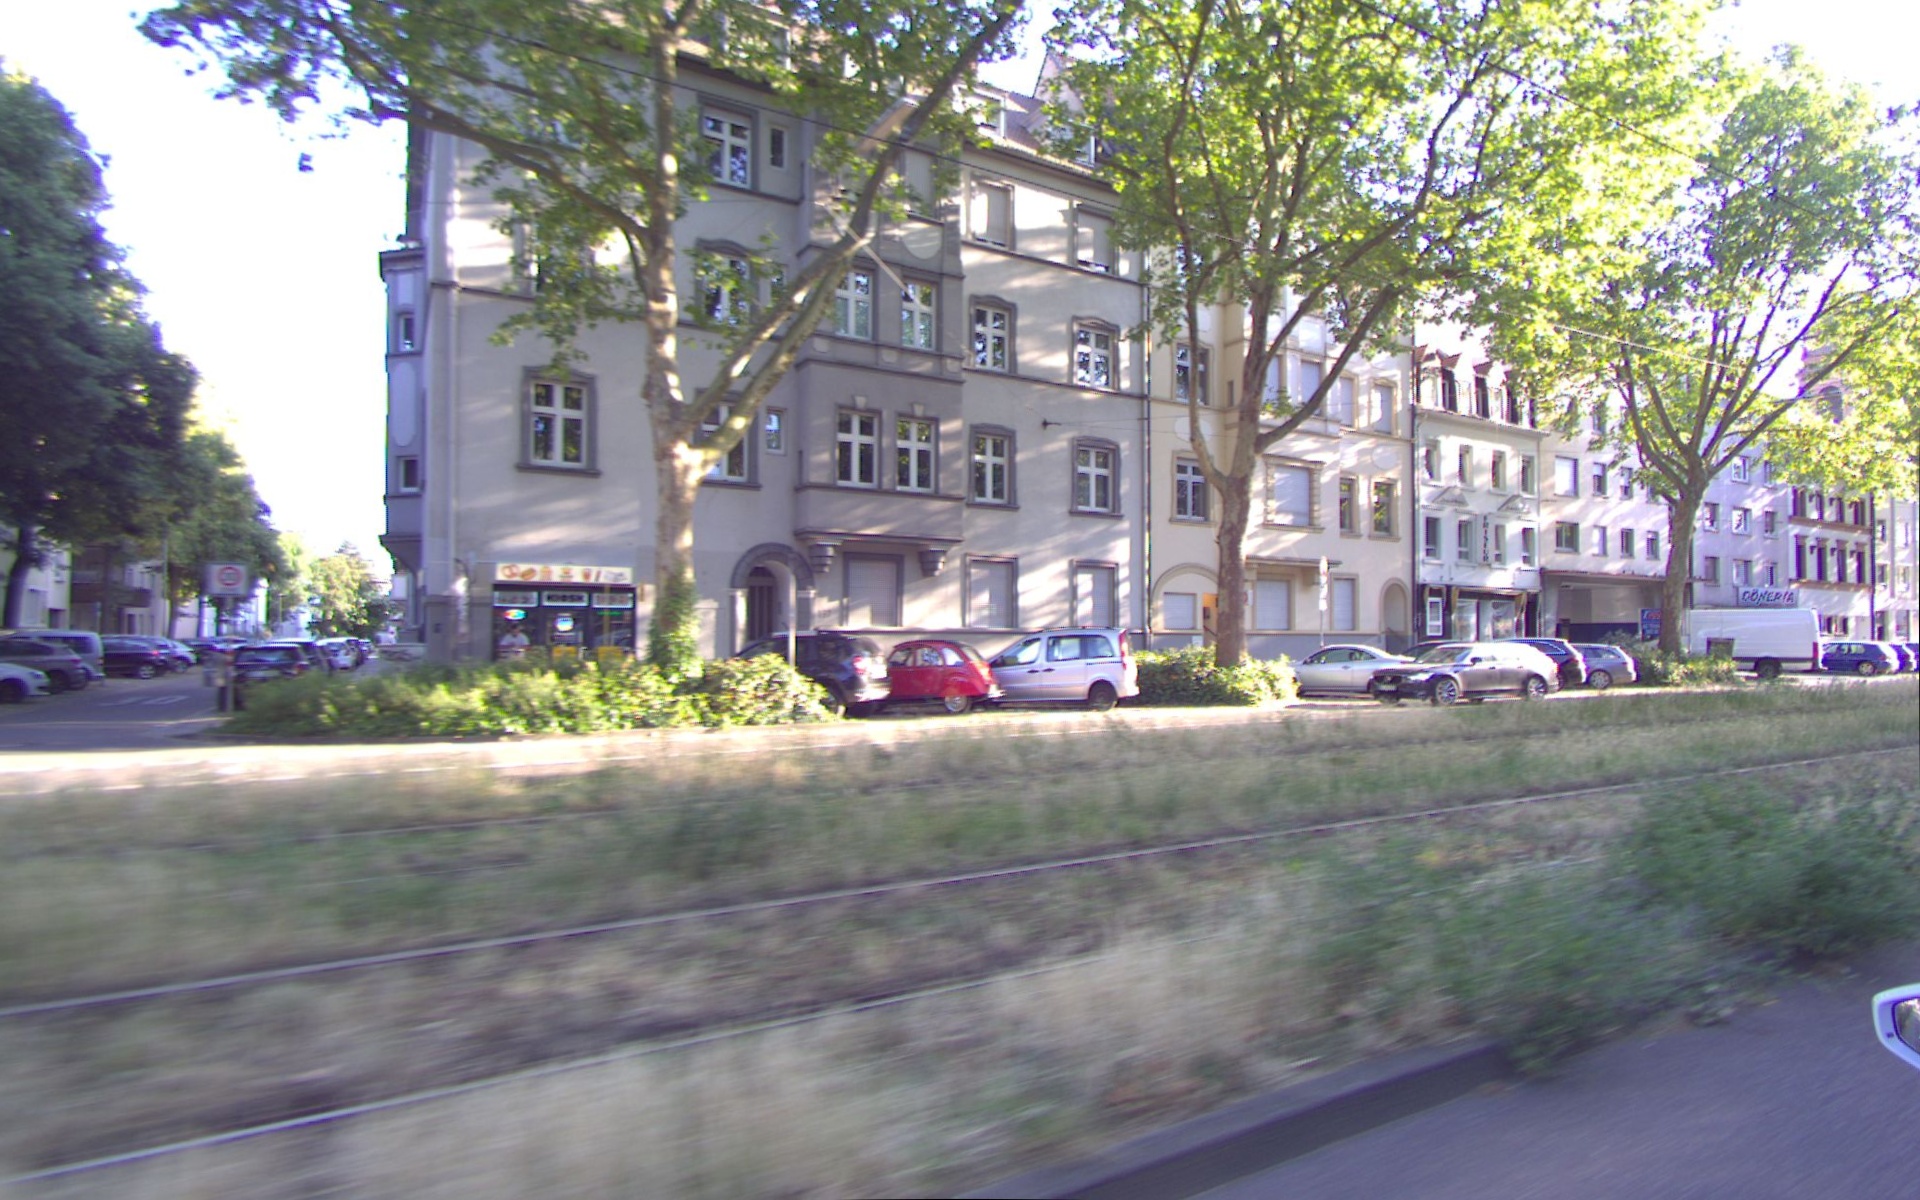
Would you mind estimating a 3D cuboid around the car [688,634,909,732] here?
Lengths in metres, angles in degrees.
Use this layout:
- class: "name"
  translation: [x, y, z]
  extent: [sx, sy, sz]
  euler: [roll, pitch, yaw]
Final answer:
- class: "car"
  translation: [-3.174, 1.571, 19.822]
  extent: [3.922, 1.746, 1.785]
  euler: [0, -3, 21]

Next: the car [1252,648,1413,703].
- class: "car"
  translation: [10.095, 2.006, 27.301]
  extent: [3.927, 1.374, 1.584]
  euler: [-1, -3, 29]

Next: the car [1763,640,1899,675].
- class: "car"
  translation: [38.735, 2.518, 44.781]
  extent: [1.840, 1.477, 4.270]
  euler: [2, -3, -35]

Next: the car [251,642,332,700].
- class: "car"
  translation: [-18.990, 1.956, 28.654]
  extent: [1.795, 1.528, 3.965]
  euler: [1, -3, -32]

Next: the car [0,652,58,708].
- class: "car"
  translation: [-24.575, 1.930, 23.825]
  extent: [1.764, 1.354, 4.411]
  euler: [-1, -3, 29]

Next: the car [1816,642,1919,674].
- class: "car"
  translation: [44.228, 2.793, 48.338]
  extent: [4.227, 1.477, 1.859]
  euler: [0, -3, 20]

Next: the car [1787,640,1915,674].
- class: "car"
  translation: [40.905, 2.609, 46.244]
  extent: [4.245, 1.477, 1.851]
  euler: [-1, -3, 38]

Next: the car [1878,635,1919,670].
- class: "car"
  translation: [50.208, 2.719, 51.474]
  extent: [4.227, 1.760, 1.859]
  euler: [0, -3, 20]

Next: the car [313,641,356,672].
- class: "car"
  translation: [-32.333, 2.875, 51.949]
  extent: [1.795, 1.528, 3.965]
  euler: [1, -3, -32]

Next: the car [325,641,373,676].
- class: "car"
  translation: [-28.438, 2.676, 46.719]
  extent: [1.795, 1.528, 3.965]
  euler: [1, -3, -32]

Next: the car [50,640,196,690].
- class: "car"
  translation: [-34.750, 2.637, 41.793]
  extent: [1.769, 1.957, 4.398]
  euler: [-2, -3, 39]

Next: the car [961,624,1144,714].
- class: "car"
  translation: [2.168, 1.544, 23.075]
  extent: [3.919, 1.906, 2.001]
  euler: [0, -2, 14]

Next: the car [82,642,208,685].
- class: "car"
  translation: [-37.049, 2.854, 45.722]
  extent: [1.769, 1.844, 4.177]
  euler: [-2, -3, 39]

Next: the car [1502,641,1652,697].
- class: "car"
  translation: [20.132, 2.218, 32.975]
  extent: [3.922, 1.721, 1.856]
  euler: [0, -3, 22]

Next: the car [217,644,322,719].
- class: "car"
  translation: [-15.775, 1.793, 23.118]
  extent: [1.795, 1.528, 3.965]
  euler: [1, -3, -32]

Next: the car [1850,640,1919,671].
- class: "car"
  translation: [47.213, 2.752, 49.803]
  extent: [4.227, 1.477, 1.859]
  euler: [0, -3, 20]

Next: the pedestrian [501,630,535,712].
- class: "pedestrian"
  translation: [-9.795, 1.560, 22.235]
  extent: [0.664, 1.782, 0.625]
  euler: [1, -2, -25]

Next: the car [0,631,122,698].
- class: "car"
  translation: [-28.669, 1.952, 30.706]
  extent: [1.769, 1.957, 4.398]
  euler: [-2, -3, 39]

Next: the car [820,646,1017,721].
- class: "car"
  translation: [-0.892, 1.742, 21.650]
  extent: [3.922, 1.467, 1.586]
  euler: [0, -3, 21]

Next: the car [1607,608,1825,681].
- class: "car"
  translation: [30.183, 1.769, 40.372]
  extent: [6.855, 2.713, 2.176]
  euler: [-1, -3, 40]

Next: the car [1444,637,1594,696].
- class: "car"
  translation: [17.374, 2.099, 31.382]
  extent: [3.928, 1.721, 1.854]
  euler: [-3, -4, 28]

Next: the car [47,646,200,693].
- class: "car"
  translation: [-32.994, 2.689, 39.716]
  extent: [1.769, 1.704, 4.398]
  euler: [-2, -3, 39]

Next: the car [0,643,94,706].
- class: "car"
  translation: [-27.217, 2.086, 28.164]
  extent: [1.733, 1.732, 4.217]
  euler: [-2, -3, 39]

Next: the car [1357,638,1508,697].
- class: "car"
  translation: [14.202, 2.037, 30.222]
  extent: [3.929, 1.573, 1.853]
  euler: [-4, -3, 28]

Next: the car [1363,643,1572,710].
- class: "car"
  translation: [12.167, 1.798, 24.075]
  extent: [4.853, 1.479, 1.743]
  euler: [2, -3, -22]

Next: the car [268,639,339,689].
- class: "car"
  translation: [-21.212, 2.022, 32.547]
  extent: [1.795, 1.528, 3.965]
  euler: [1, -3, -32]
